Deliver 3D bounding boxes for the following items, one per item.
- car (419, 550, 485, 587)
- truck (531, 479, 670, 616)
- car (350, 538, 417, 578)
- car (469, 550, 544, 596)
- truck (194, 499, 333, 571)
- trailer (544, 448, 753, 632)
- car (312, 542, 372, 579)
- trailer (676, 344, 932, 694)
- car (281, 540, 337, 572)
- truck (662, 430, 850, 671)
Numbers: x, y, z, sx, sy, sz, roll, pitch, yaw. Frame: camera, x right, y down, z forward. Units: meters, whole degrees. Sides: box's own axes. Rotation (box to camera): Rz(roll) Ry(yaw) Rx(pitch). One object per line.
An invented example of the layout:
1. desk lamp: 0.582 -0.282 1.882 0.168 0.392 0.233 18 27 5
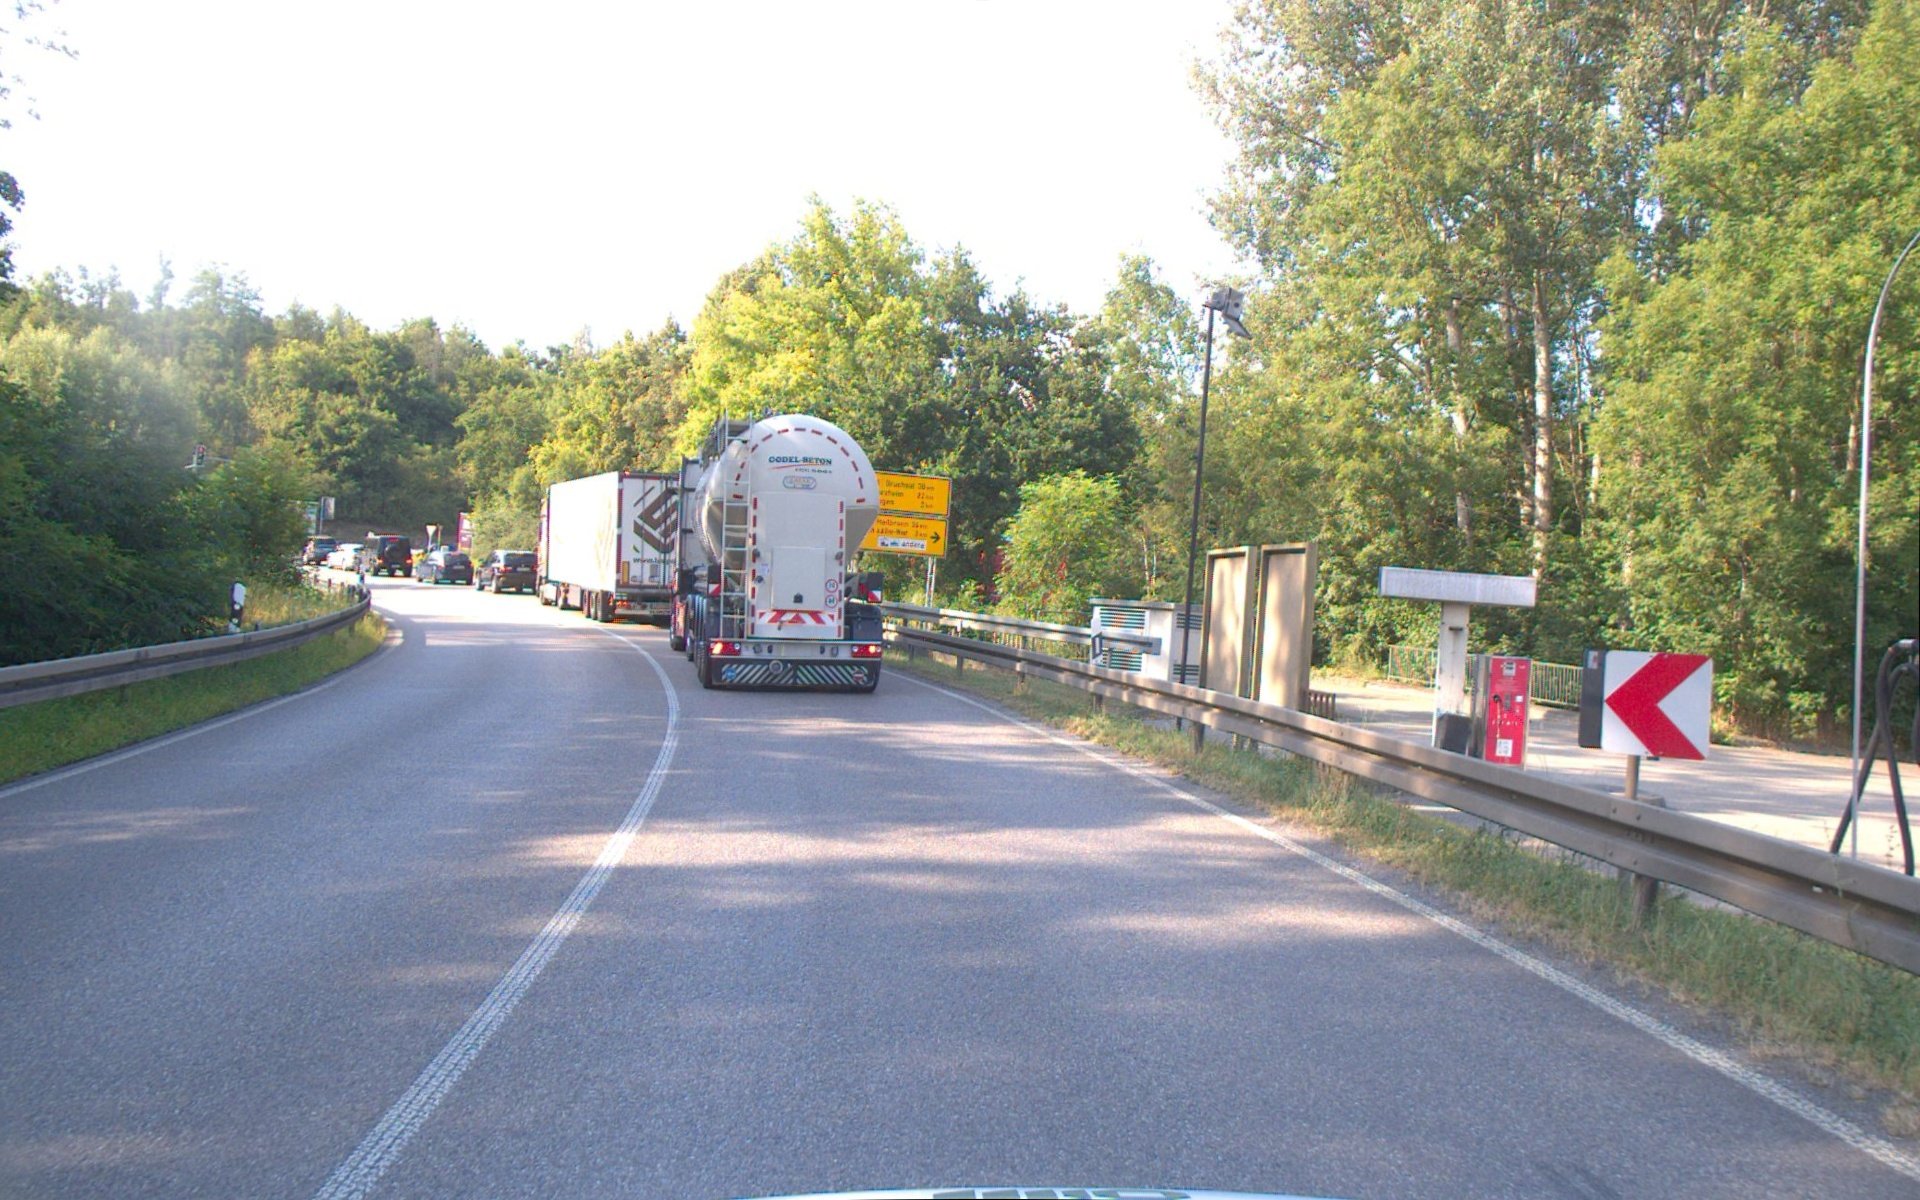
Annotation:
1. car: -23.174 -1.446 75.397 1.851 1.592 3.954 0 2 -33
2. truck: -12.165 -1.727 55.556 3.402 4.157 6.448 3 0 -22
3. car: -28.883 -2.091 82.794 1.944 1.883 3.945 0 2 -39
4. car: -18.401 -1.115 67.023 1.850 1.656 3.957 3 0 -32
5. truck: -52.811 -4.839 125.746 2.953 4.664 10.234 4 0 24
6. trailer: -9.561 -1.676 49.039 3.496 4.591 12.899 3 0 -22
7. car: -33.211 -2.132 88.869 1.854 1.712 3.947 4 0 -38
8. trailer: -2.899 -1.152 27.101 2.836 4.531 9.577 4 0 -12
9. car: -37.168 -2.523 94.399 1.854 1.622 3.947 4 0 -38
10. truck: -4.132 -0.913 32.339 2.776 4.104 5.874 4 0 -13
